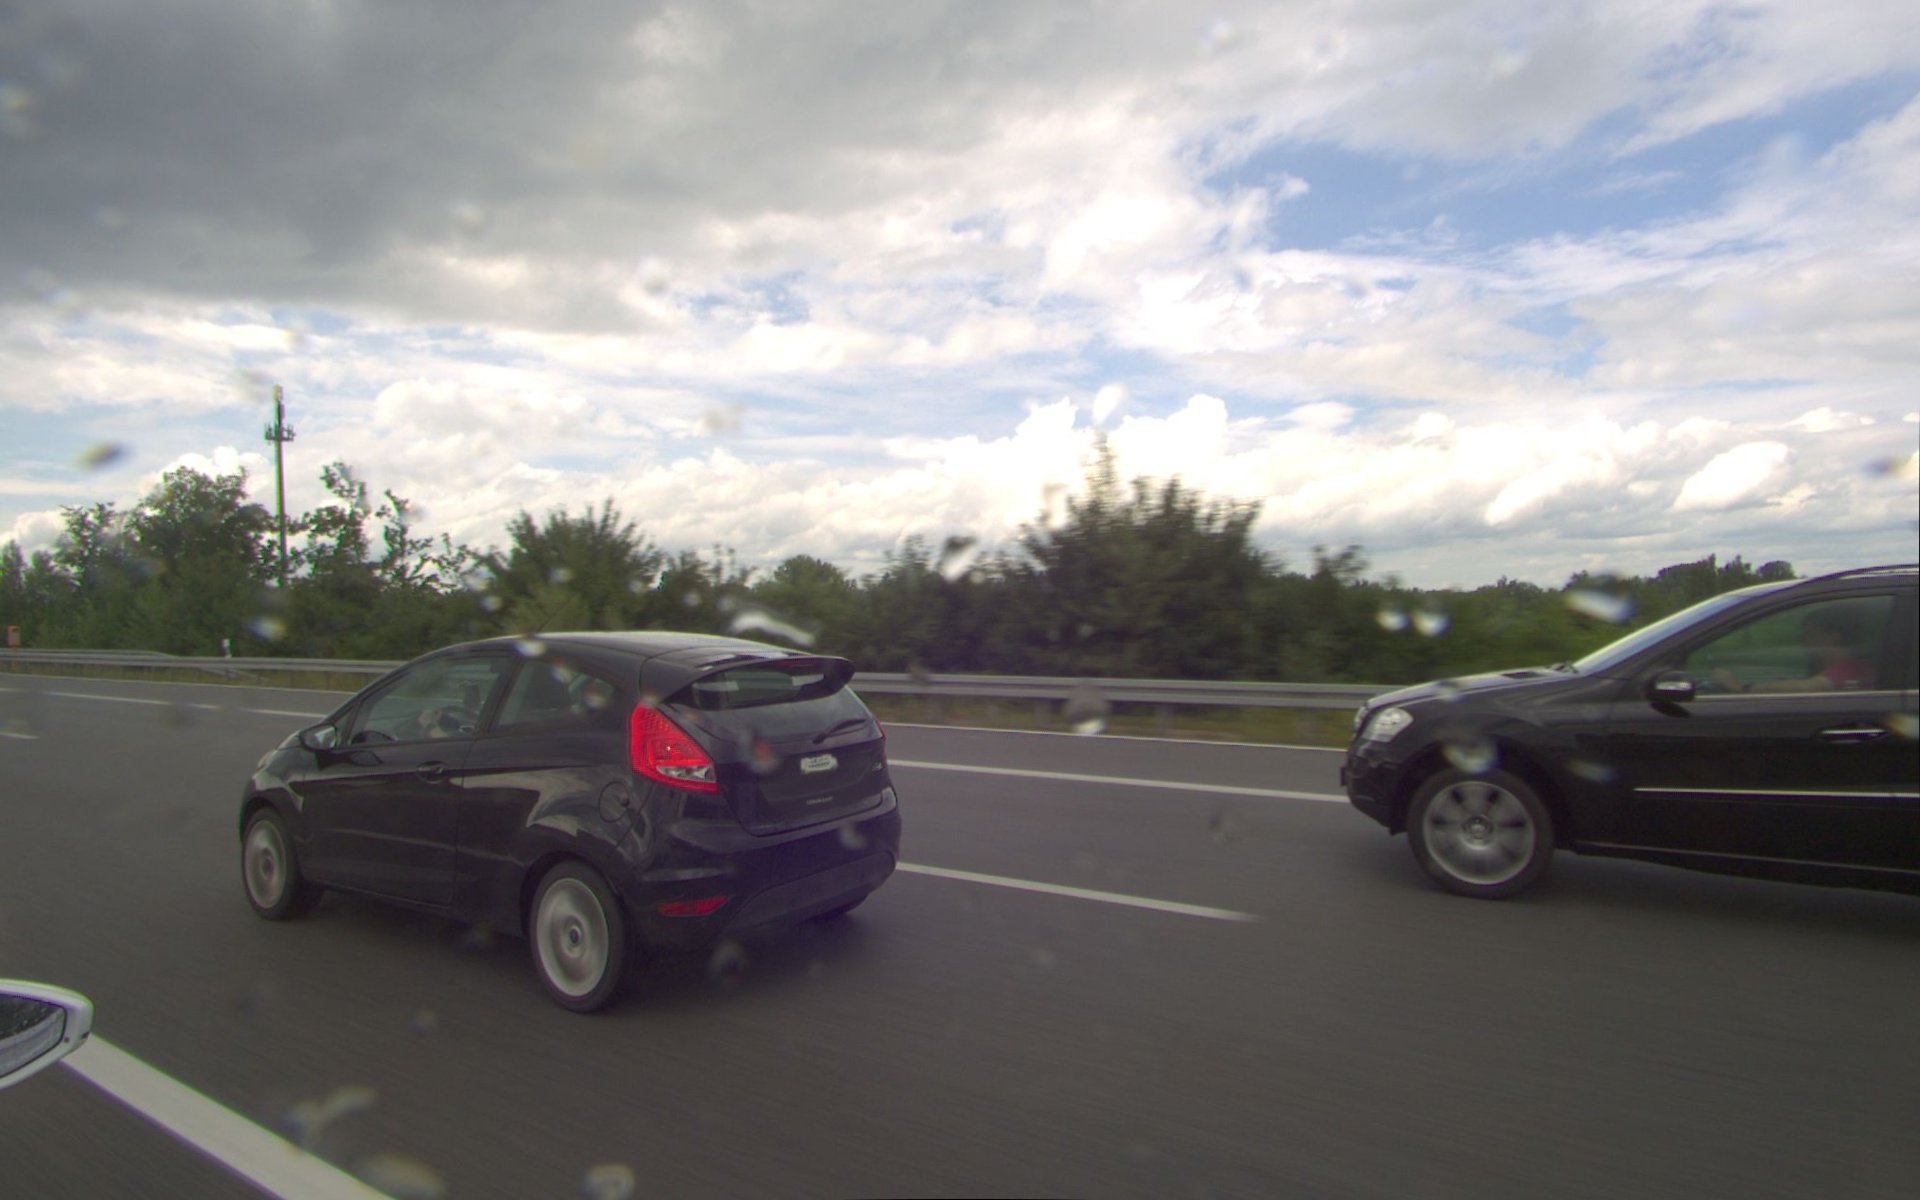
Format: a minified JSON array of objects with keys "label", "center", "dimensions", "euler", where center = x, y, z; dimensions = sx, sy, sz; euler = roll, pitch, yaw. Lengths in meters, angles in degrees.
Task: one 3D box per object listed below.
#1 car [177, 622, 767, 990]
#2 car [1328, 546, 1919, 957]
[{"label":"car","center":[-2.702,0.861,5.424],"dimensions":[3.118,1.460,1.445],"euler":[-1,-1,32]},{"label":"car","center":[4.468,0.692,5.358],"dimensions":[4.436,1.799,1.918],"euler":[-1,-2,31]}]
